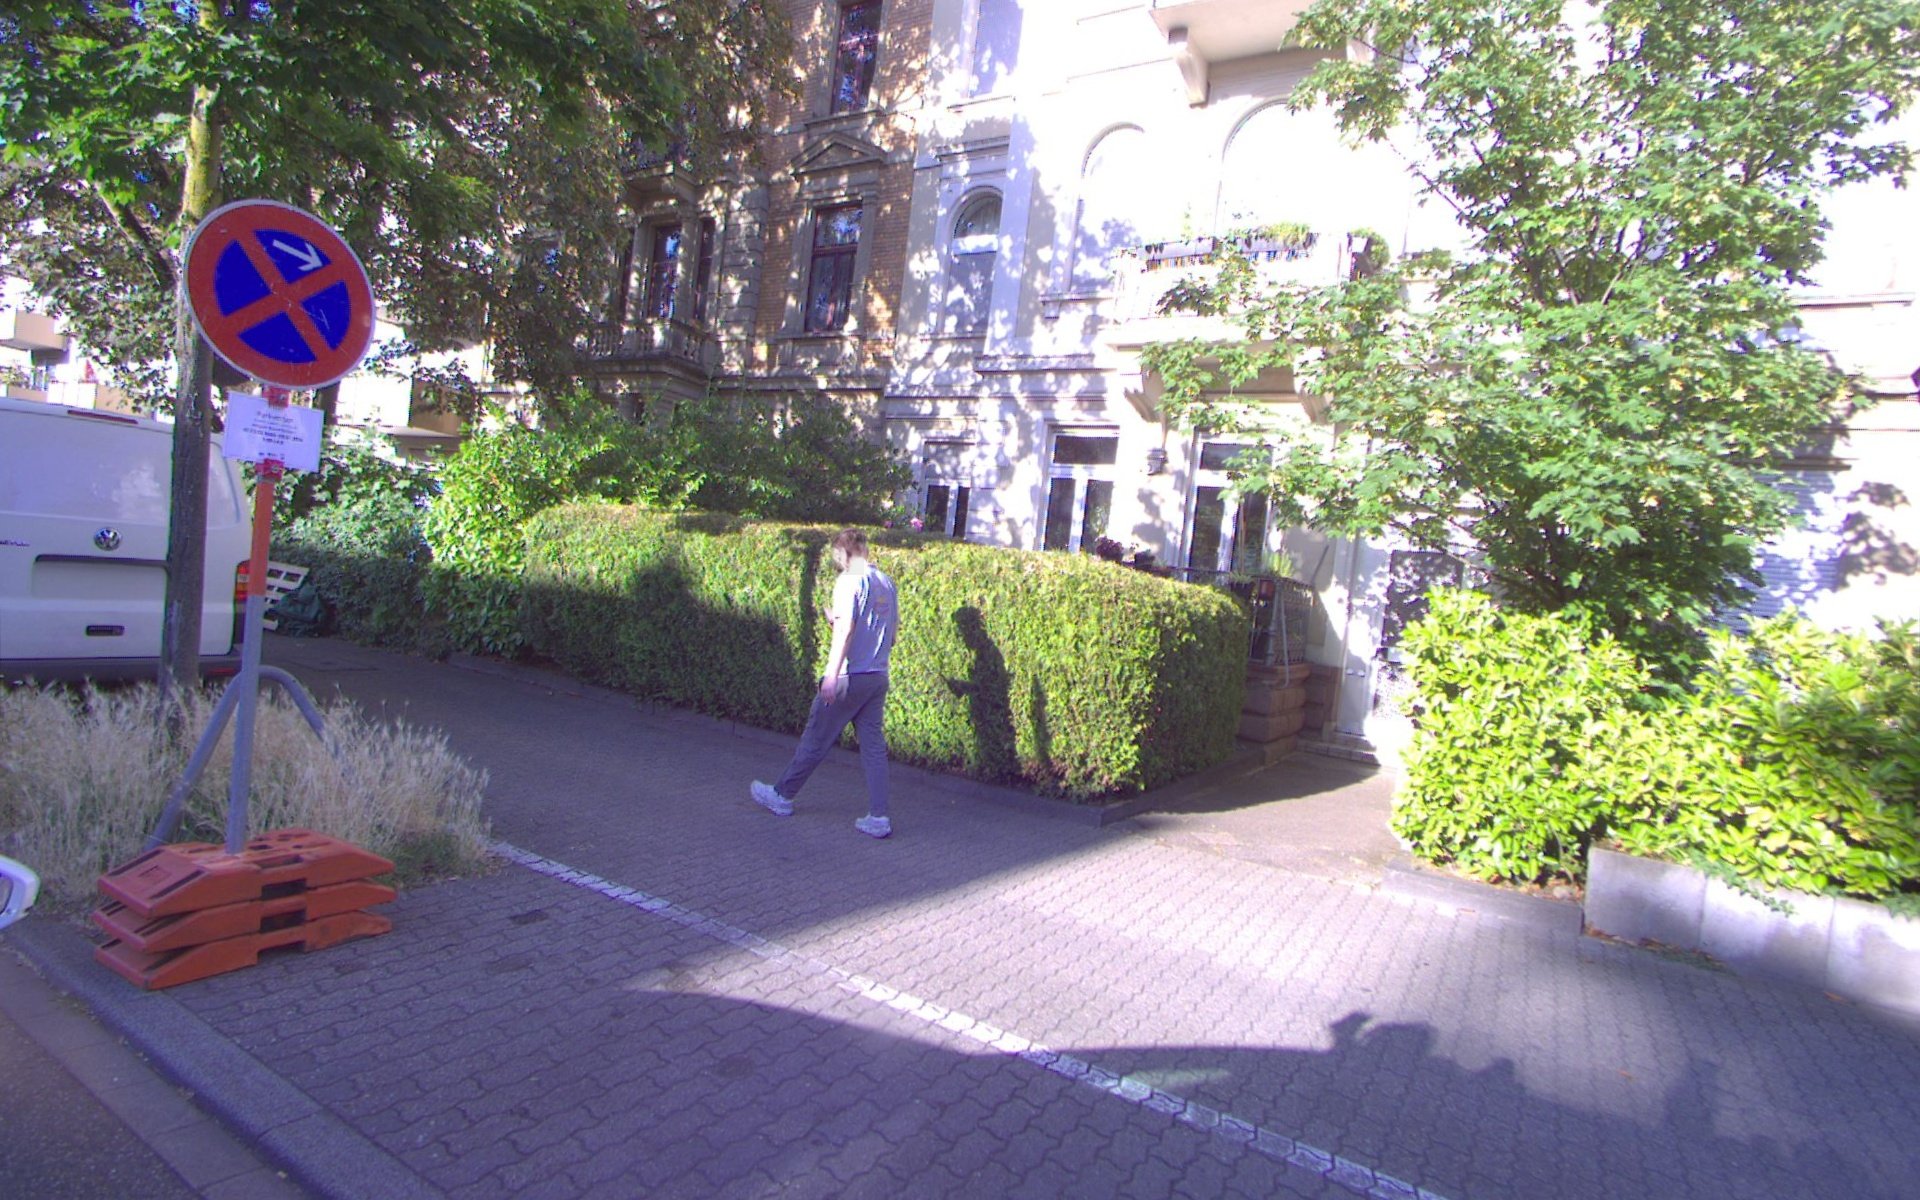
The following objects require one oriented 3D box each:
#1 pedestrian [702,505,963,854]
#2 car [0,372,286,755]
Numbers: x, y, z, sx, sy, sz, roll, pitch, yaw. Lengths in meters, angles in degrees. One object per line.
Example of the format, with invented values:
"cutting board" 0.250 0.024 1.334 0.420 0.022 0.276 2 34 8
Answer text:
"pedestrian" -0.740 0.427 5.949 1.070 1.796 0.822 7 1 28
"car" -7.086 -0.393 7.124 4.562 2.129 1.905 7 0 30
